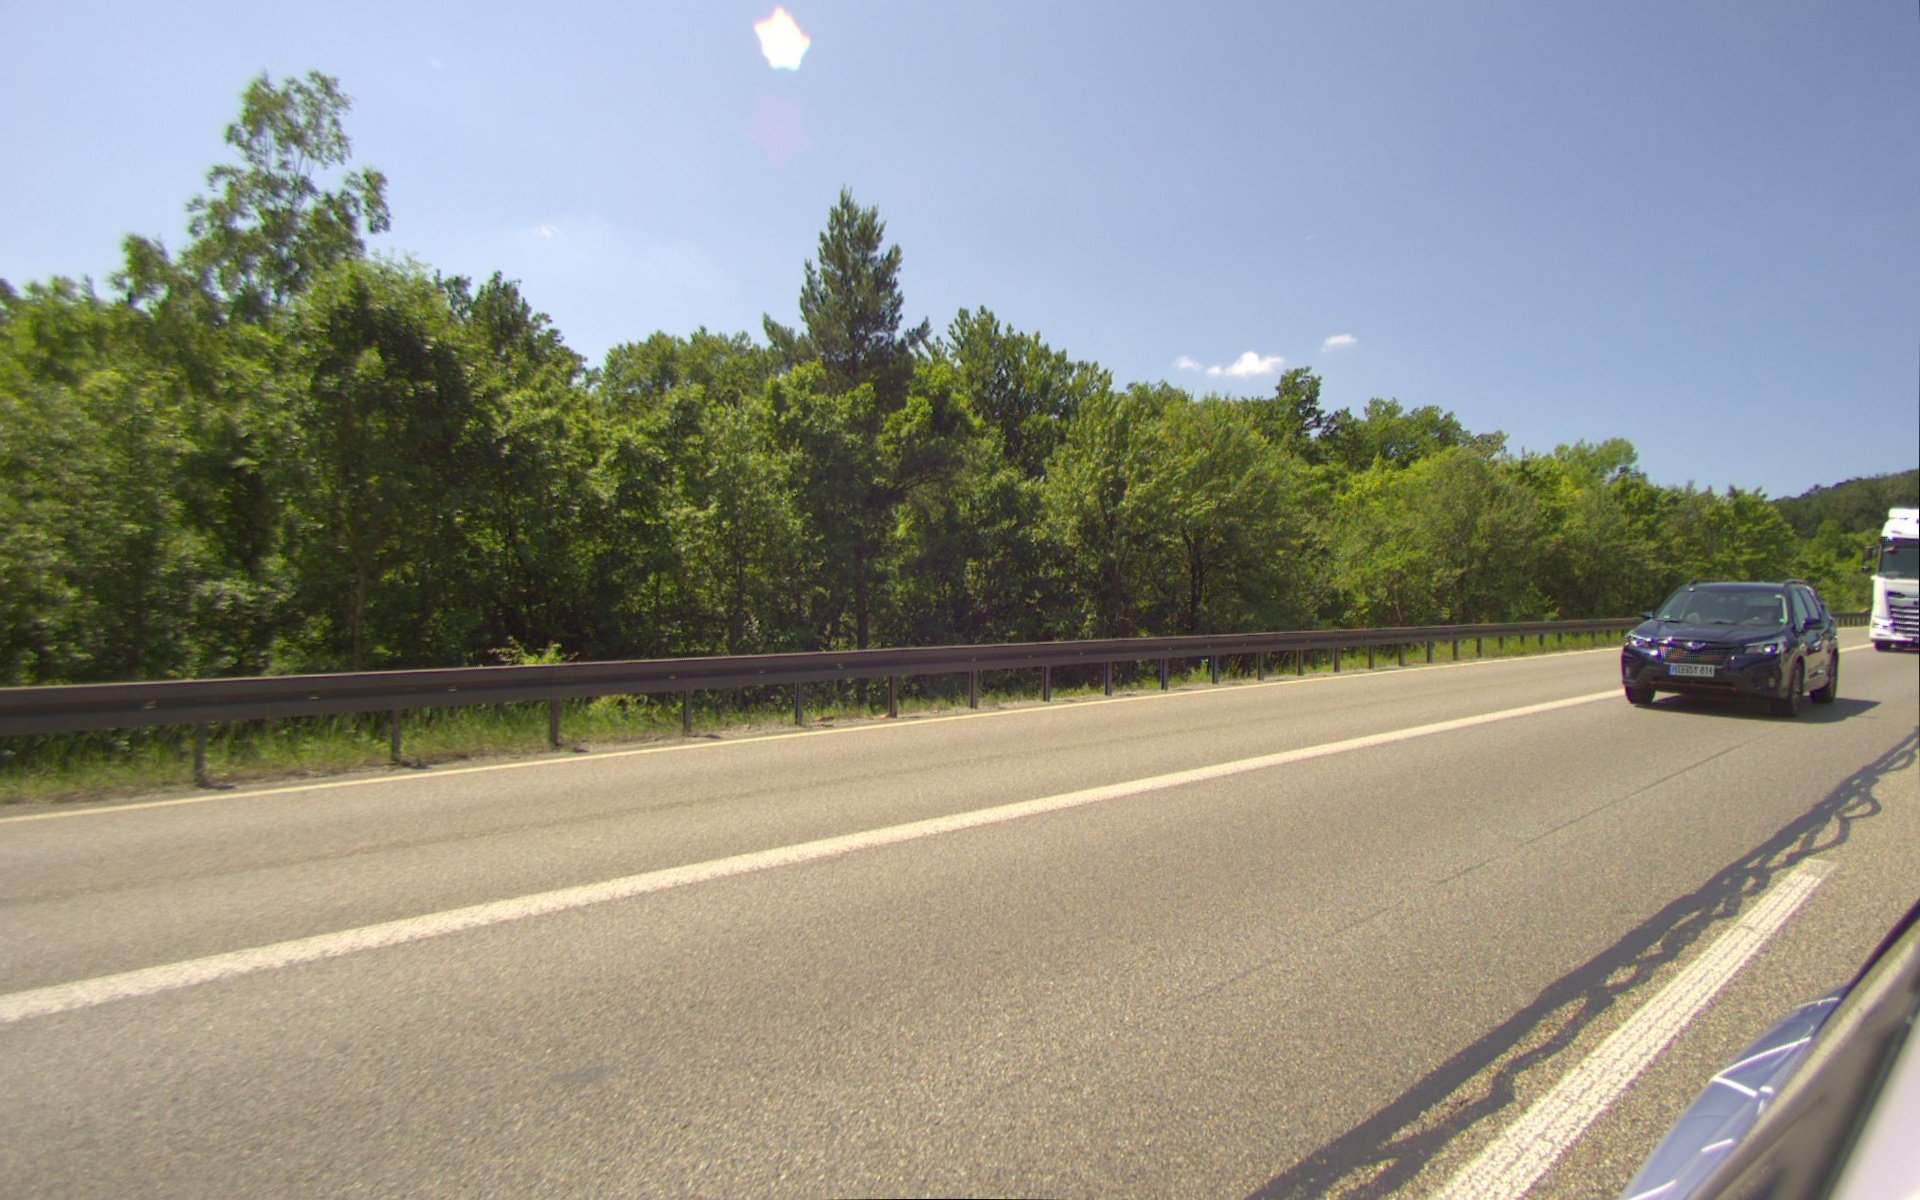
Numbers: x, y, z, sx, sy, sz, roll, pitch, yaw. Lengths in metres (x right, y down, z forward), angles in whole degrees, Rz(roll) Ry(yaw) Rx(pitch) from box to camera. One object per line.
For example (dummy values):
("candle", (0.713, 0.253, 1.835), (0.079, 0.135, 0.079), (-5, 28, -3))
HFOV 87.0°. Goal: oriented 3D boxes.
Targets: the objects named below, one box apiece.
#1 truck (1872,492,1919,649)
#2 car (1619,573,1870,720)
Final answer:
("truck", (32.147, -0.795, 32.077), (15.982, 4.221, 2.788), (0, 1, -41))
("car", (10.757, 0.497, 13.785), (4.128, 1.688, 1.816), (-1, 2, -39))
